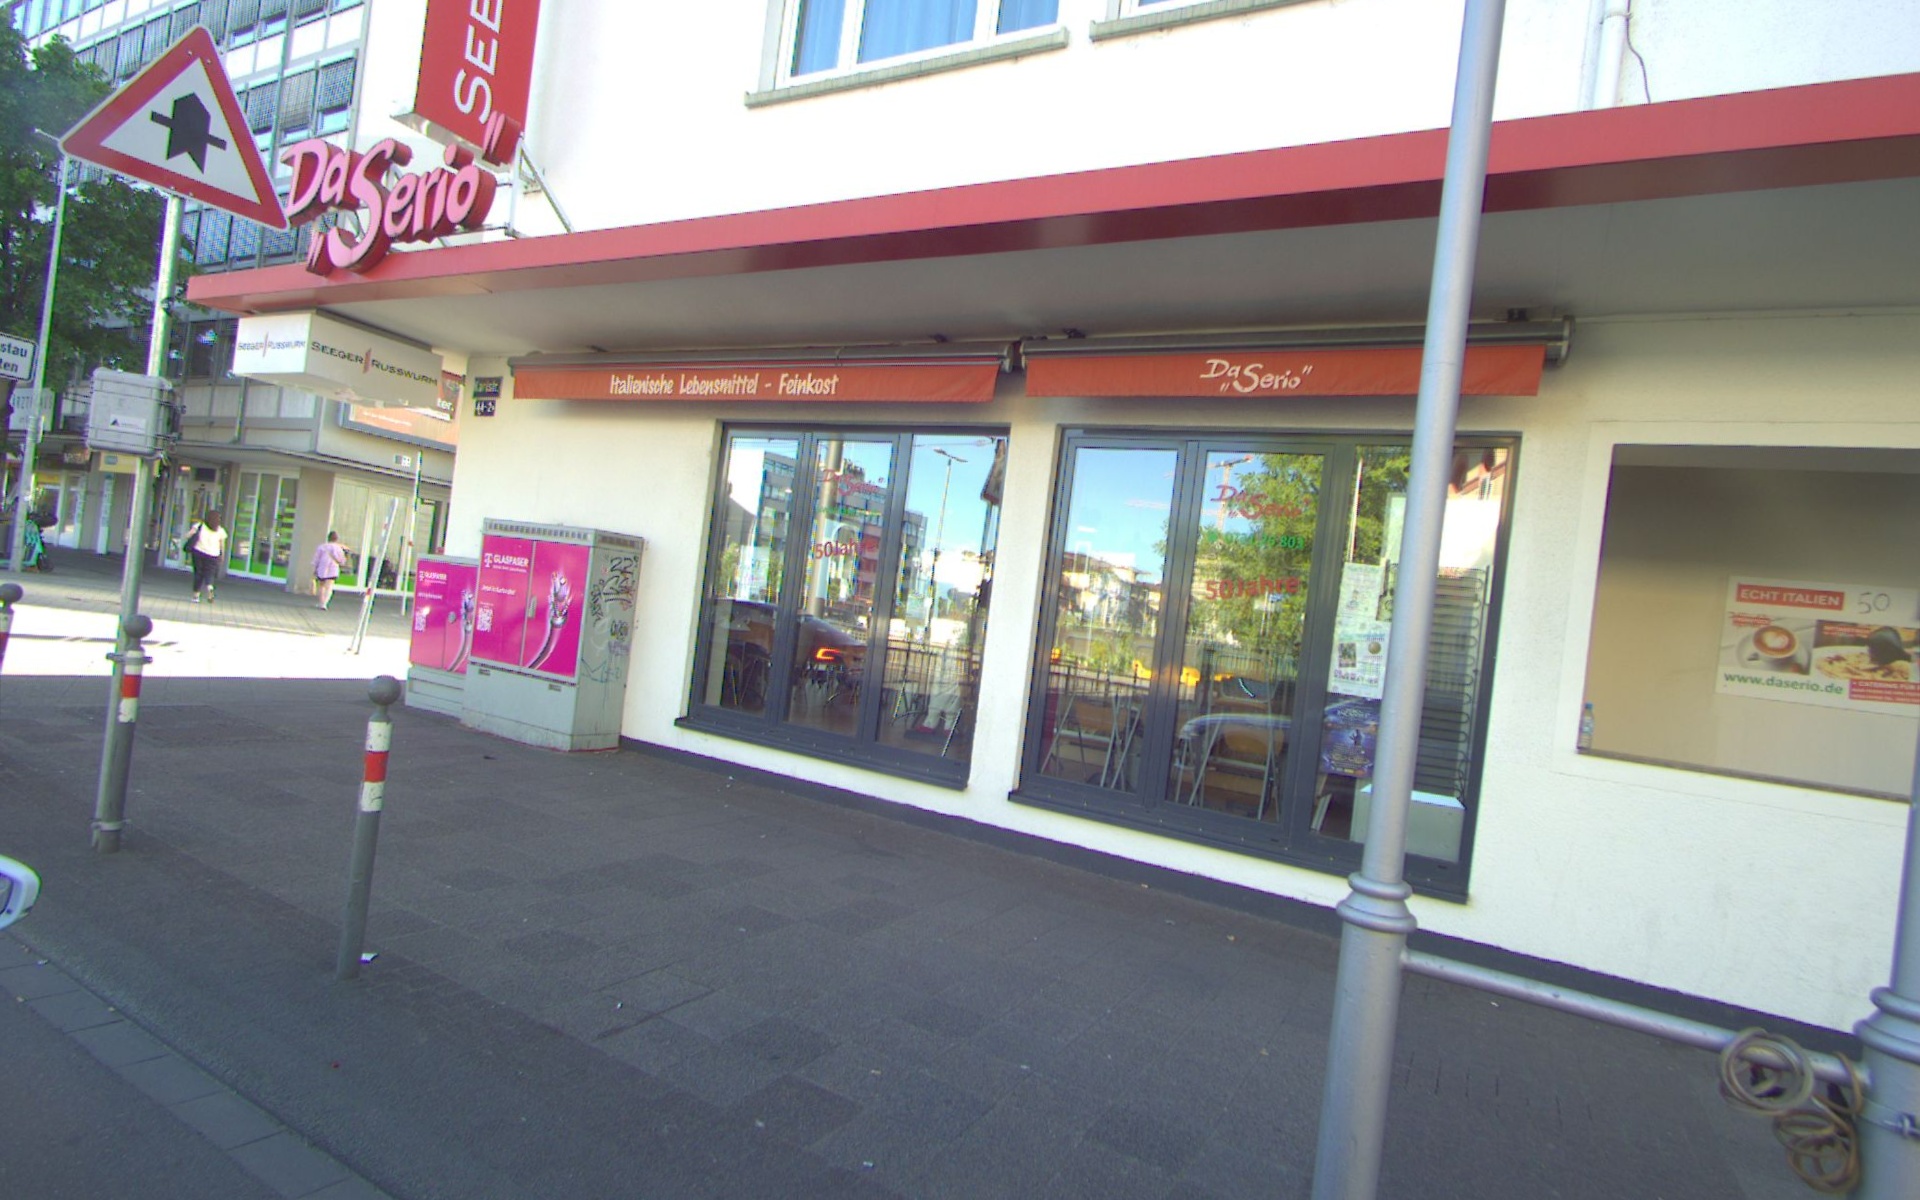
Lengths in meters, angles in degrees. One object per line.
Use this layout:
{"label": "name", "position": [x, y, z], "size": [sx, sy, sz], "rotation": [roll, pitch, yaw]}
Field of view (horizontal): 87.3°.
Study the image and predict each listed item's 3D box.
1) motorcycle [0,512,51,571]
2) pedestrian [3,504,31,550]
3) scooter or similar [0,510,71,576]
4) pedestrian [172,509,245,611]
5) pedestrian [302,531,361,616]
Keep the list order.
{"label": "motorcycle", "position": [-21.475, -1.372, 22.347], "size": [0.532, 1.186, 1.711], "rotation": [7, -2, 30]}
{"label": "pedestrian", "position": [-28.982, -2.242, 30.920], "size": [0.504, 1.359, 0.390], "rotation": [6, -1, 34]}
{"label": "scooter or similar", "position": [-19.941, -1.232, 21.176], "size": [1.628, 1.229, 0.640], "rotation": [8, -1, -29]}
{"label": "pedestrian", "position": [-14.173, -0.749, 19.003], "size": [0.909, 1.773, 1.029], "rotation": [7, 0, -35]}
{"label": "pedestrian", "position": [-13.577, -0.565, 21.736], "size": [0.884, 1.687, 0.801], "rotation": [8, -1, -35]}
